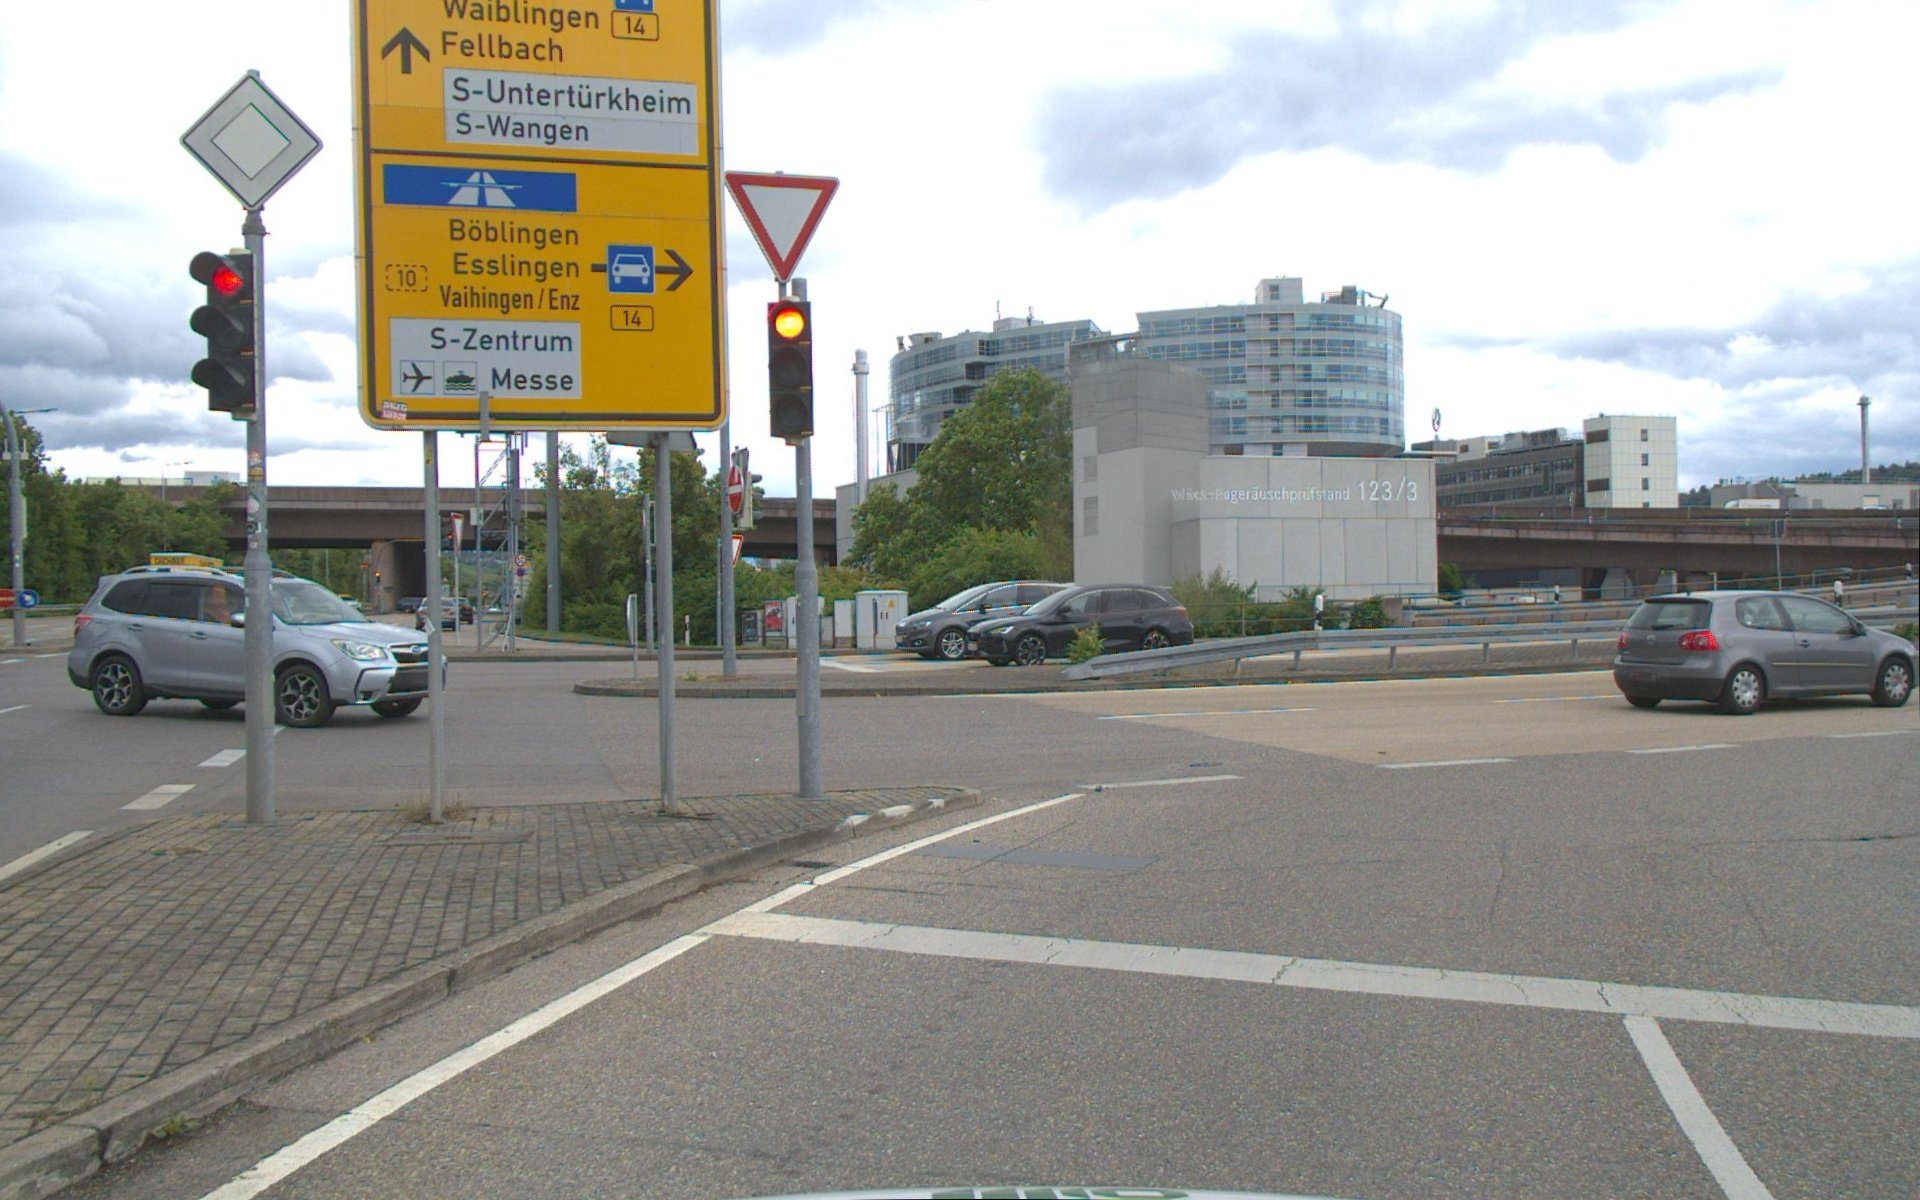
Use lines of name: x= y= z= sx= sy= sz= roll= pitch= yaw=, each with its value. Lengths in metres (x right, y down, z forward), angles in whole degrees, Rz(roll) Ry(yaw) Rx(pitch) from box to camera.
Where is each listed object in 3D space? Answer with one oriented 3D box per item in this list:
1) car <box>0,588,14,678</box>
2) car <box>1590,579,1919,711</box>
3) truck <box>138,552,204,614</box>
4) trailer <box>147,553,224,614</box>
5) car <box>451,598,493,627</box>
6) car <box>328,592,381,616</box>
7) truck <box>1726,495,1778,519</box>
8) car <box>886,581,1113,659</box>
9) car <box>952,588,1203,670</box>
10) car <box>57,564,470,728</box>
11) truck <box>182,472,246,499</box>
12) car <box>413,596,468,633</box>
car: x=-17.185 y=0.530 z=27.207 sx=3.995 sy=1.425 sz=1.719 roll=0 pitch=1 yaw=43
car: x=10.190 y=0.509 z=20.838 sx=4.170 sy=1.487 sz=1.719 roll=-1 pitch=0 yaw=-22
truck: x=-55.184 y=-1.200 z=115.869 sx=2.823 sy=4.155 sz=6.463 roll=2 pitch=0 yaw=-14
trailer: x=-56.459 y=-1.245 z=120.894 sx=2.823 sy=4.155 sz=11.384 roll=2 pitch=0 yaw=-14
car: x=-26.854 y=0.694 z=91.128 sx=1.959 sy=1.490 sz=4.095 roll=1 pitch=-2 yaw=-13
car: x=-52.864 y=0.331 z=144.444 sx=3.904 sy=1.892 sz=2.001 roll=3 pitch=0 yaw=18
truck: x=84.942 y=-9.986 z=177.470 sx=4.493 sy=2.209 sz=2.000 roll=3 pitch=0 yaw=2
car: x=0.848 y=0.396 z=36.075 sx=4.607 sy=1.599 sz=1.945 roll=0 pitch=1 yaw=-19
car: x=2.287 y=0.528 z=32.305 sx=4.540 sy=1.482 sz=1.943 roll=0 pitch=1 yaw=-22
car: x=-8.134 y=0.488 z=19.339 sx=4.446 sy=1.767 sz=1.730 roll=0 pitch=1 yaw=20
truck: x=-68.456 y=-10.508 z=151.747 sx=4.953 sy=2.362 sz=2.001 roll=1 pitch=0 yaw=5
car: x=-21.892 y=0.638 z=69.842 sx=1.960 sy=1.467 sz=4.094 roll=1 pitch=-2 yaw=-14
